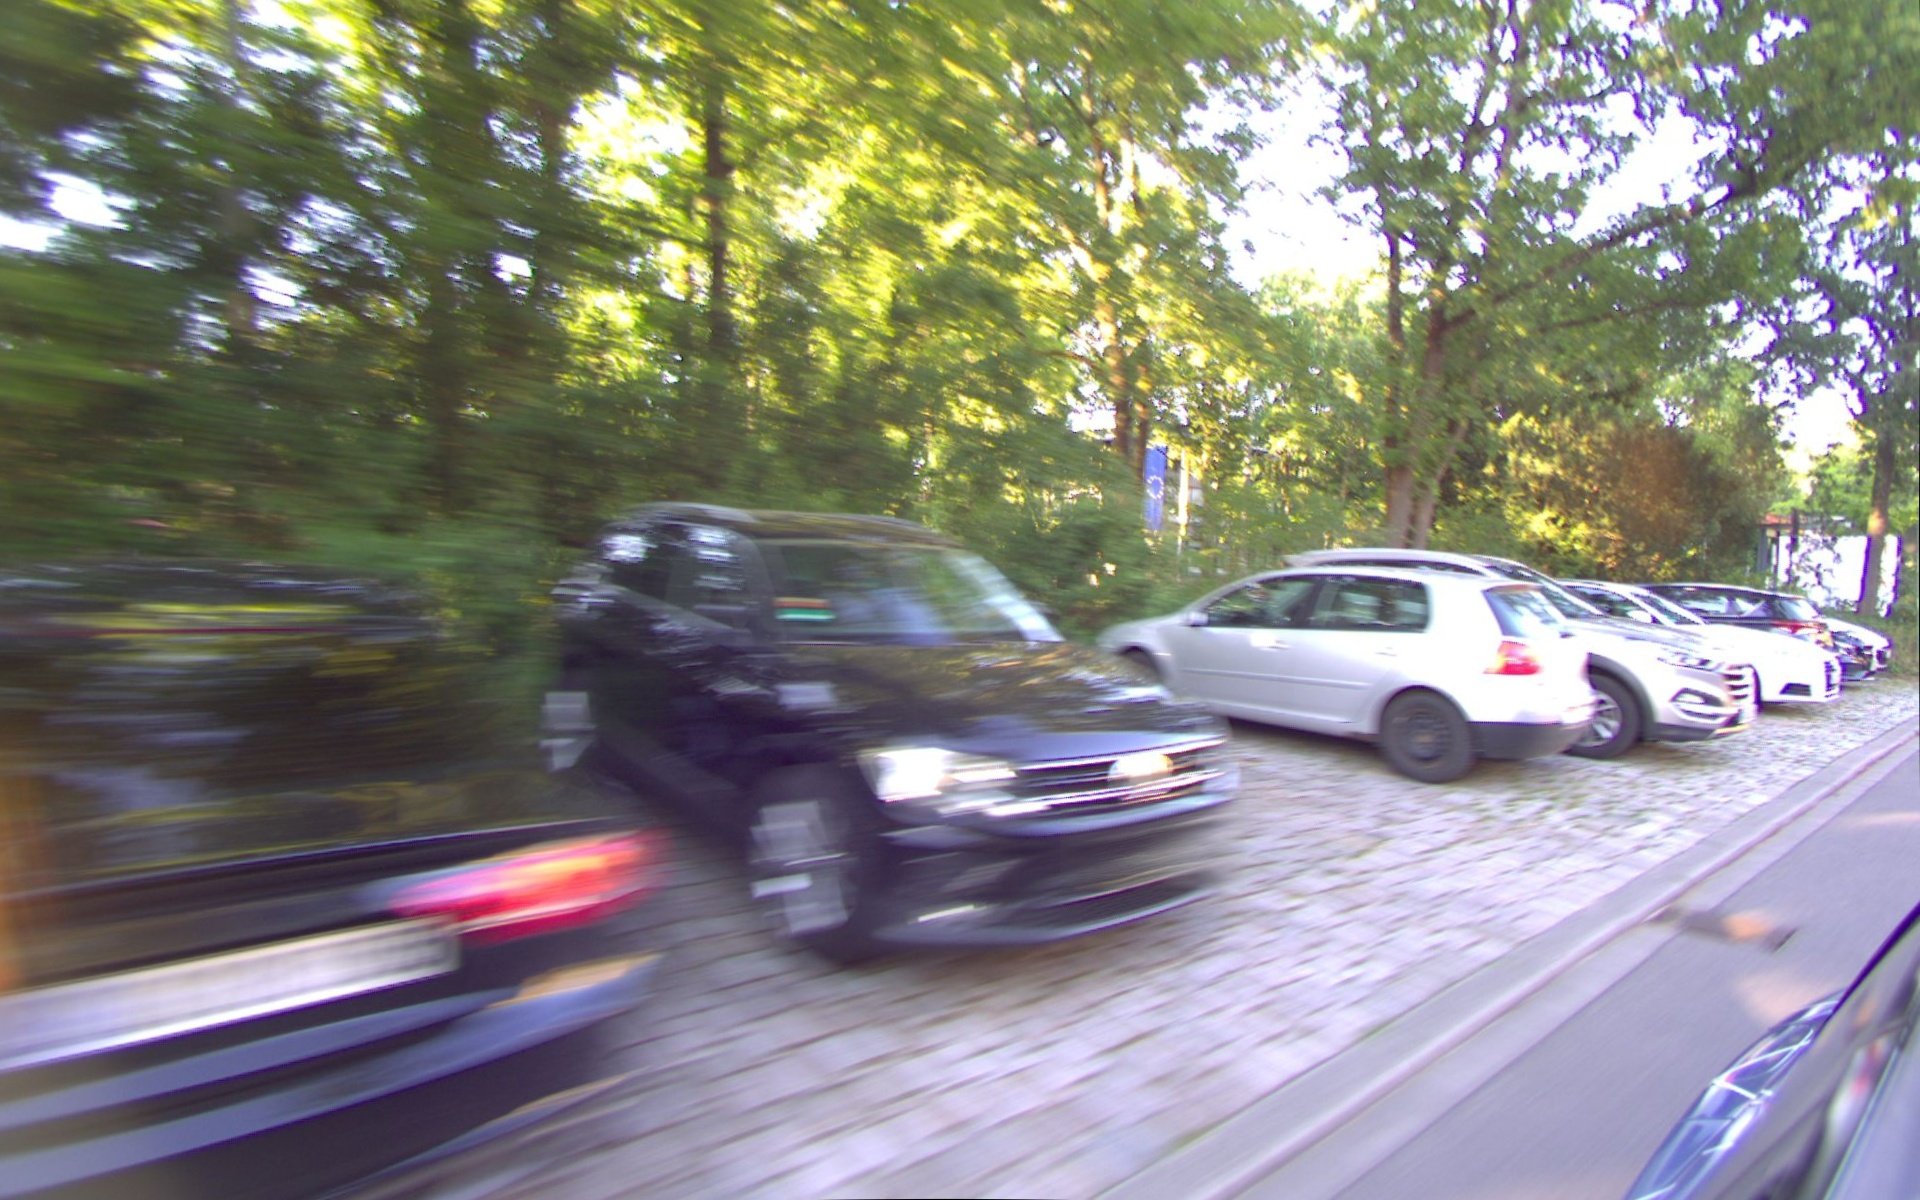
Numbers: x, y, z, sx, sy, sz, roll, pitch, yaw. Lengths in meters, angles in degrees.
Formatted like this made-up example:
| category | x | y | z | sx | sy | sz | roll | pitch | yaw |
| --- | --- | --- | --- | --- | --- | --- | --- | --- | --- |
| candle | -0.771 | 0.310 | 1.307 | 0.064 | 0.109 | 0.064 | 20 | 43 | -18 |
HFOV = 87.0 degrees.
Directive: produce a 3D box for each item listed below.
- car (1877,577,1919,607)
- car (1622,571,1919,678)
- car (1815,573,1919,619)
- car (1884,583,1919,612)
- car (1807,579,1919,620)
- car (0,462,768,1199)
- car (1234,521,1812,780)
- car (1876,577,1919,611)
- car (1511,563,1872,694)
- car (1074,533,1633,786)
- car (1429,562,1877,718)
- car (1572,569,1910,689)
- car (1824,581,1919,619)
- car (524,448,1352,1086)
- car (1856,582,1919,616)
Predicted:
| category | x | y | z | sx | sy | sz | roll | pitch | yaw |
| --- | --- | --- | --- | --- | --- | --- | --- | --- | --- |
| car | 55.209 | -0.371 | 57.485 | 1.843 | 1.572 | 4.374 | 0 | 5 | -41 |
| car | 14.535 | 0.342 | 18.247 | 1.695 | 1.573 | 3.996 | 0 | 3 | -40 |
| car | 44.409 | -0.187 | 48.556 | 1.882 | 1.938 | 4.864 | 0 | 5 | -40 |
| car | 57.998 | -0.056 | 60.116 | 1.697 | 1.572 | 4.374 | 0 | 5 | -40 |
| car | 42.795 | -0.009 | 47.020 | 1.882 | 1.572 | 4.939 | 0 | 5 | -40 |
| car | -2.339 | 0.447 | 3.051 | 1.695 | 1.573 | 3.997 | 0 | 5 | -40 |
| car | 5.056 | 0.234 | 9.607 | 2.000 | 1.826 | 4.317 | 0 | 4 | -41 |
| car | 56.498 | -0.263 | 58.921 | 1.887 | 1.801 | 4.374 | 0 | 5 | -41 |
| car | 10.691 | 0.329 | 15.033 | 1.721 | 1.573 | 3.996 | 2 | 2 | -40 |
| car | 3.009 | 0.270 | 8.449 | 1.695 | 1.573 | 3.996 | 0 | 3 | -40 |
| car | 8.868 | 0.390 | 13.330 | 1.823 | 1.573 | 4.496 | 2 | 2 | -39 |
| car | 12.409 | 0.378 | 16.289 | 1.695 | 1.573 | 3.996 | 2 | 2 | -40 |
| car | 46.327 | 0.040 | 50.248 | 1.882 | 1.572 | 4.939 | 0 | 5 | -40 |
| car | -0.547 | 0.309 | 5.076 | 1.850 | 1.810 | 4.256 | 0 | 5 | -40 |
| car | 50.226 | 0.011 | 53.196 | 1.887 | 1.555 | 4.374 | 0 | 5 | -41 |
